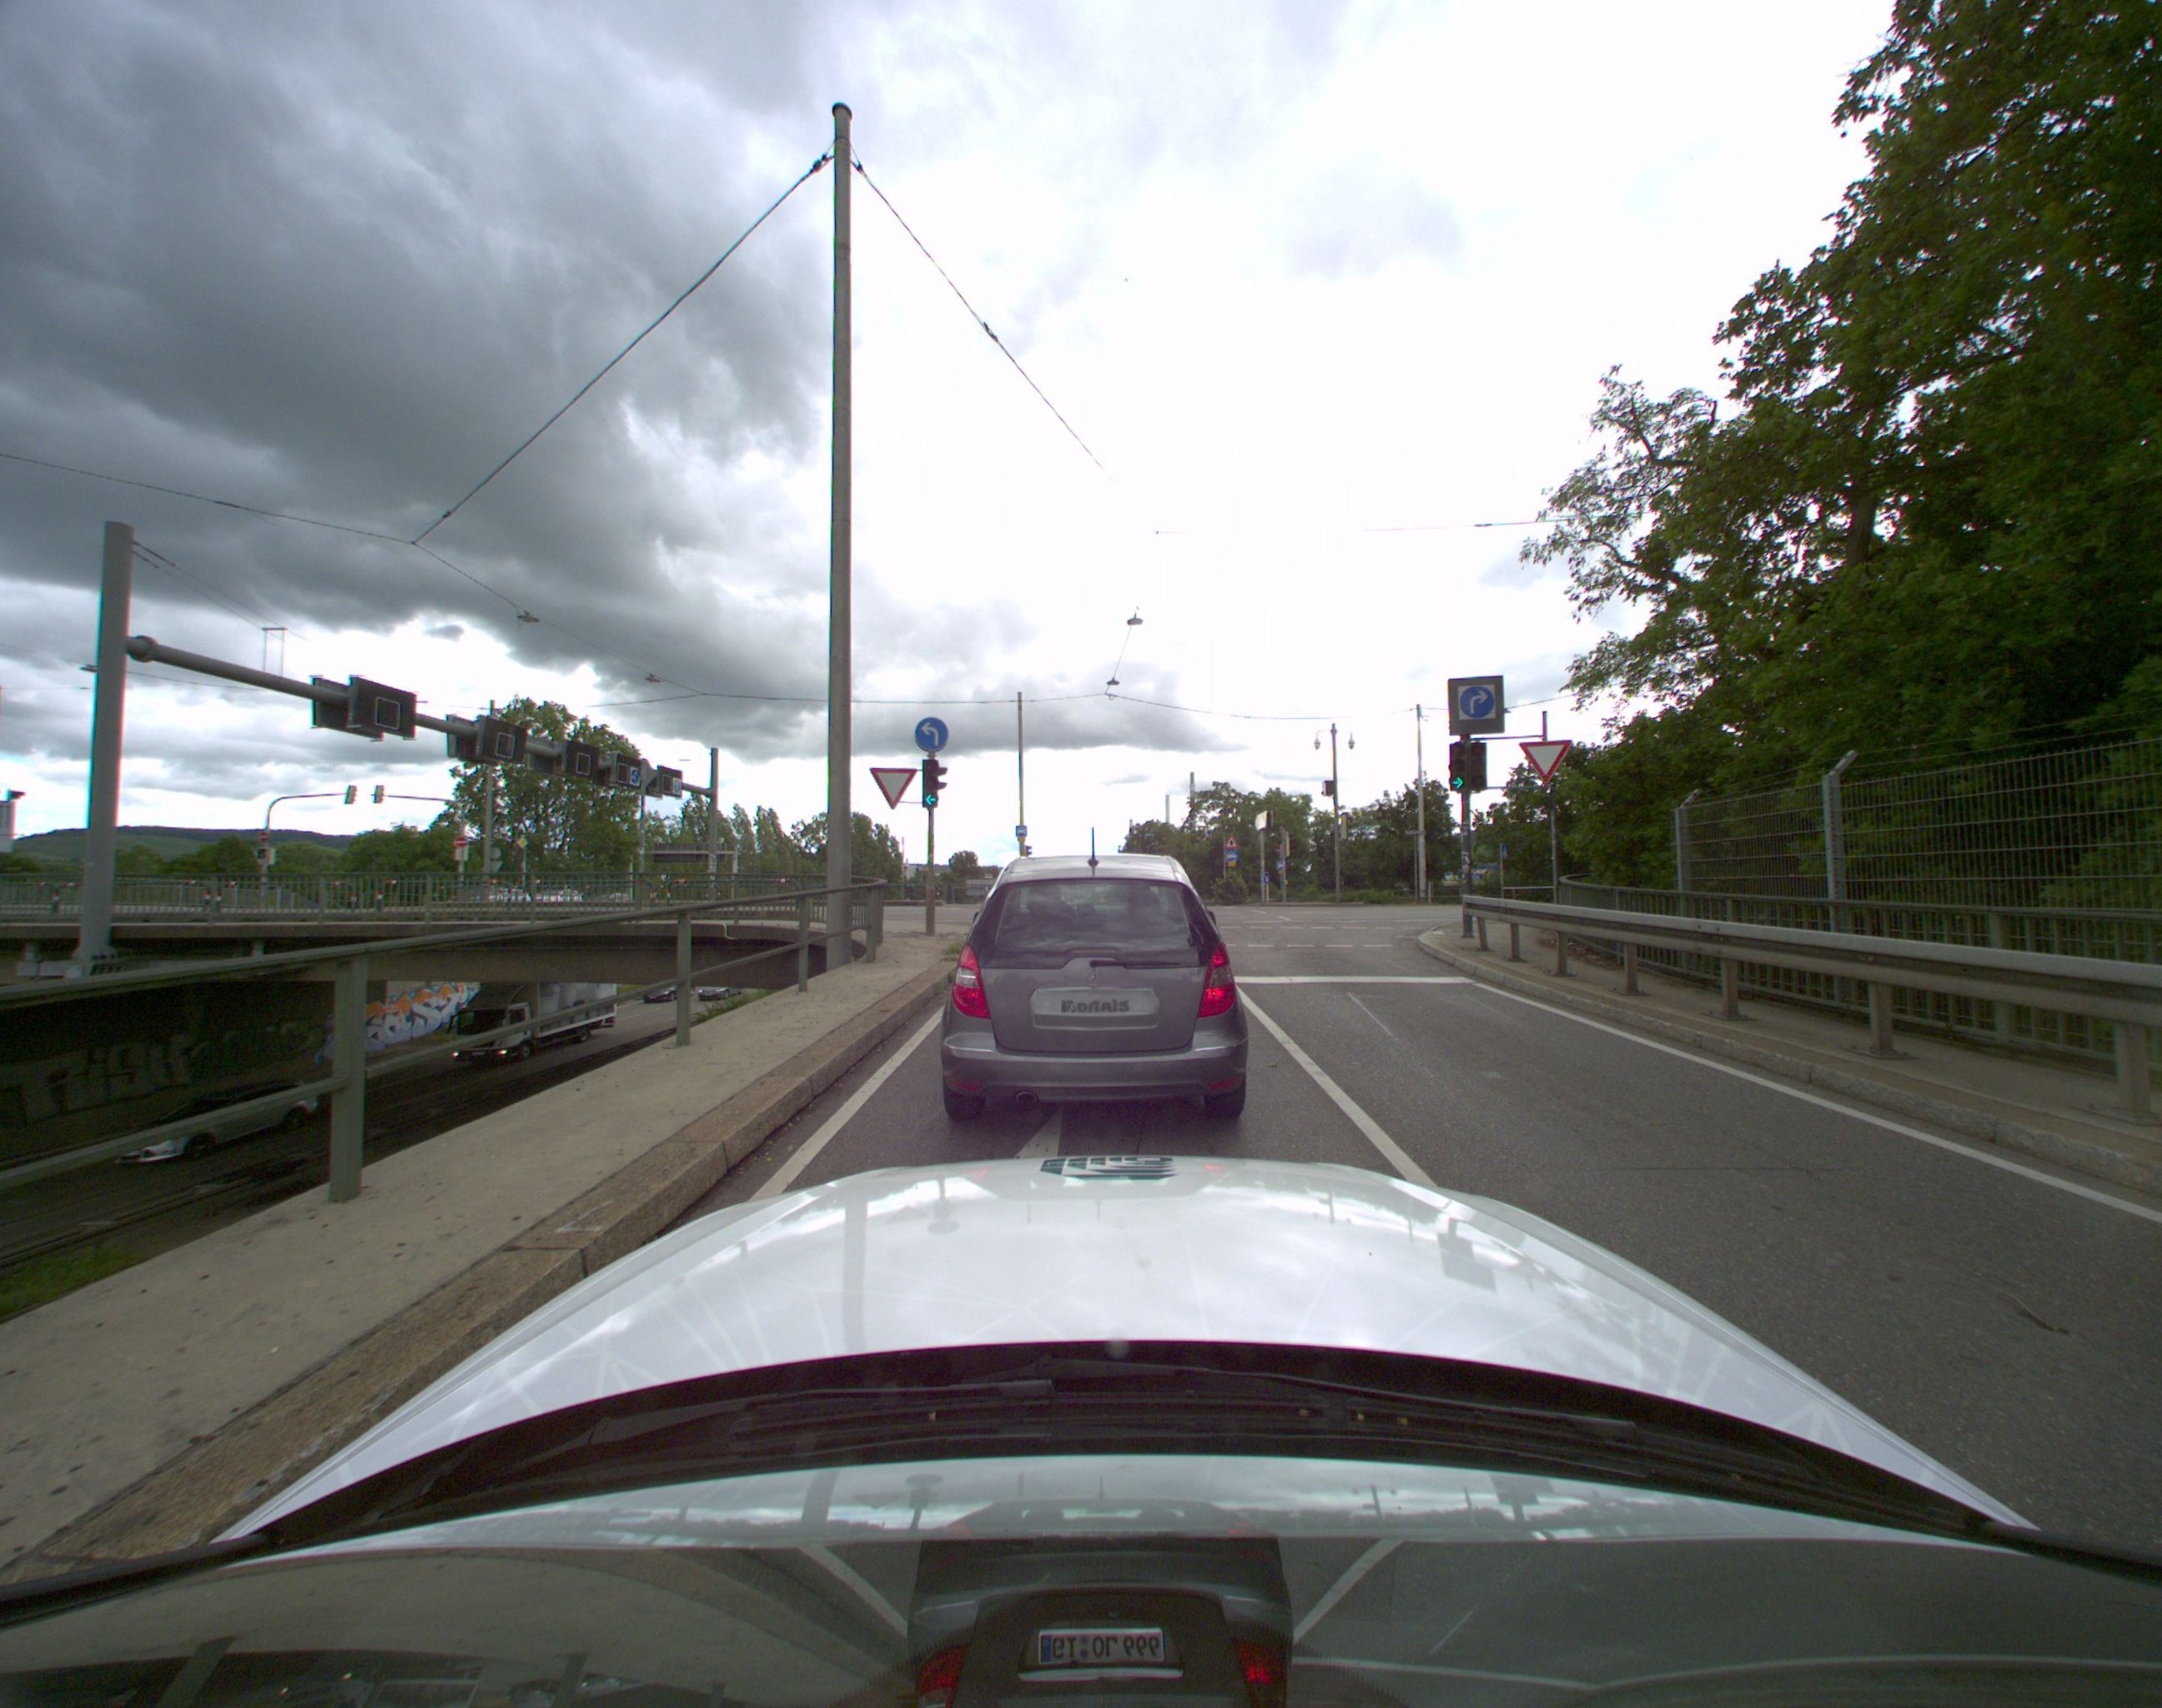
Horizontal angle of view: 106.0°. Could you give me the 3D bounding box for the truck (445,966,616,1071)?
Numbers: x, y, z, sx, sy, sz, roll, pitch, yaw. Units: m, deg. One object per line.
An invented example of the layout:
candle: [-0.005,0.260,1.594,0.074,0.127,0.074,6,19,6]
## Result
truck: [-25.046,7.341,37.668,2.506,3.462,8.123,-2,-3,-1]

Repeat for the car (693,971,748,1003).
car: [-24.687,9.100,55.956,1.815,1.611,4.297,-2,-3,0]

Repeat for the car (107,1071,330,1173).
car: [-24.894,7.677,23.796,1.675,1.611,4.492,-2,-3,0]

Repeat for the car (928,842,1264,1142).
car: [0.137,0.729,5.996,1.733,1.543,3.542,0,-1,2]

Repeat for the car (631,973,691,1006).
car: [-28.548,9.203,55.547,1.815,1.611,4.298,-2,-2,0]
